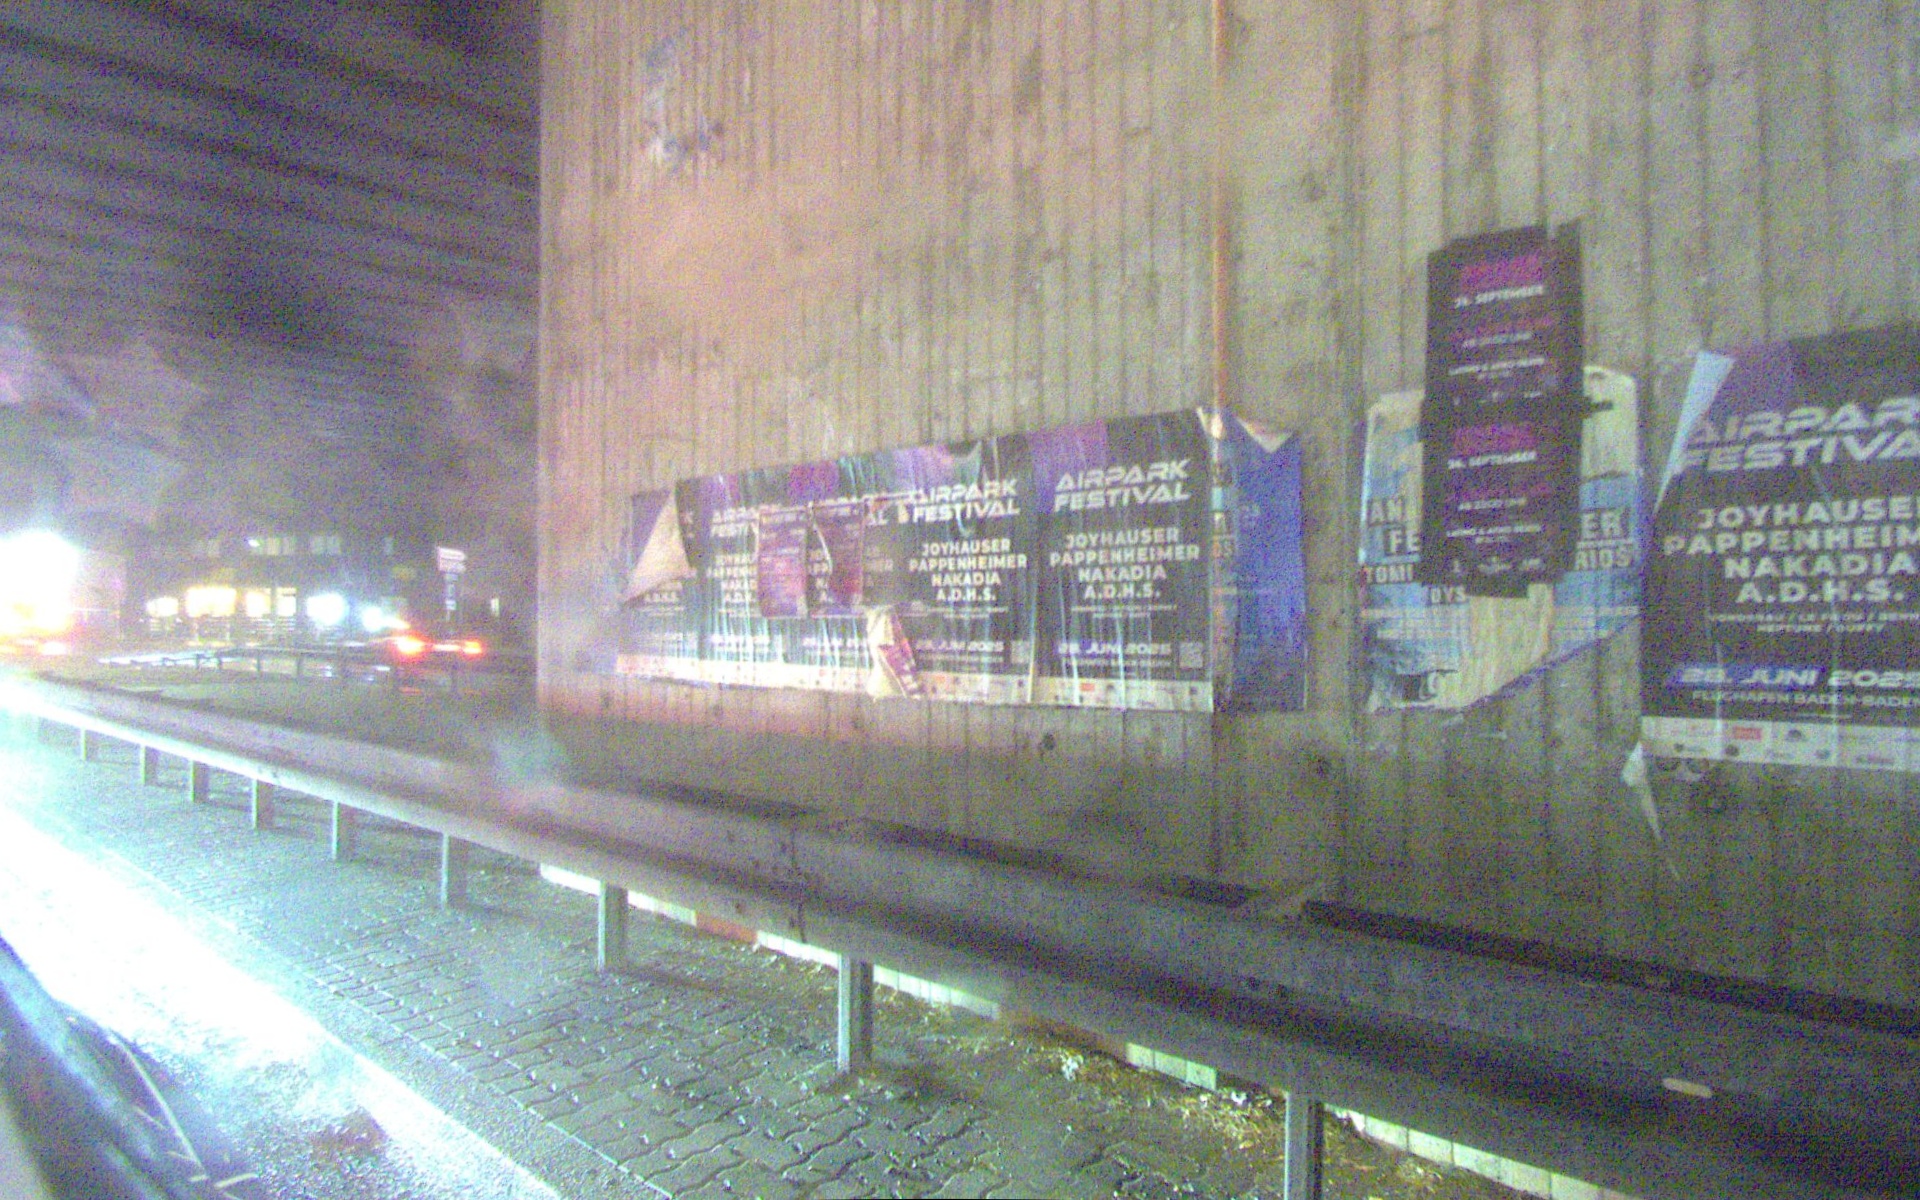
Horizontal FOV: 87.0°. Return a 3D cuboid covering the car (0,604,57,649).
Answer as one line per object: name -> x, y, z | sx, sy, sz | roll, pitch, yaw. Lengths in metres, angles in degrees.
car -> -39.772, 1.066, 41.895 | 4.477, 1.763, 1.845 | -1, 0, 23

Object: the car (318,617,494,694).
car -> -12.576, 1.262, 22.909 | 4.073, 1.600, 1.889 | -2, -4, 36
